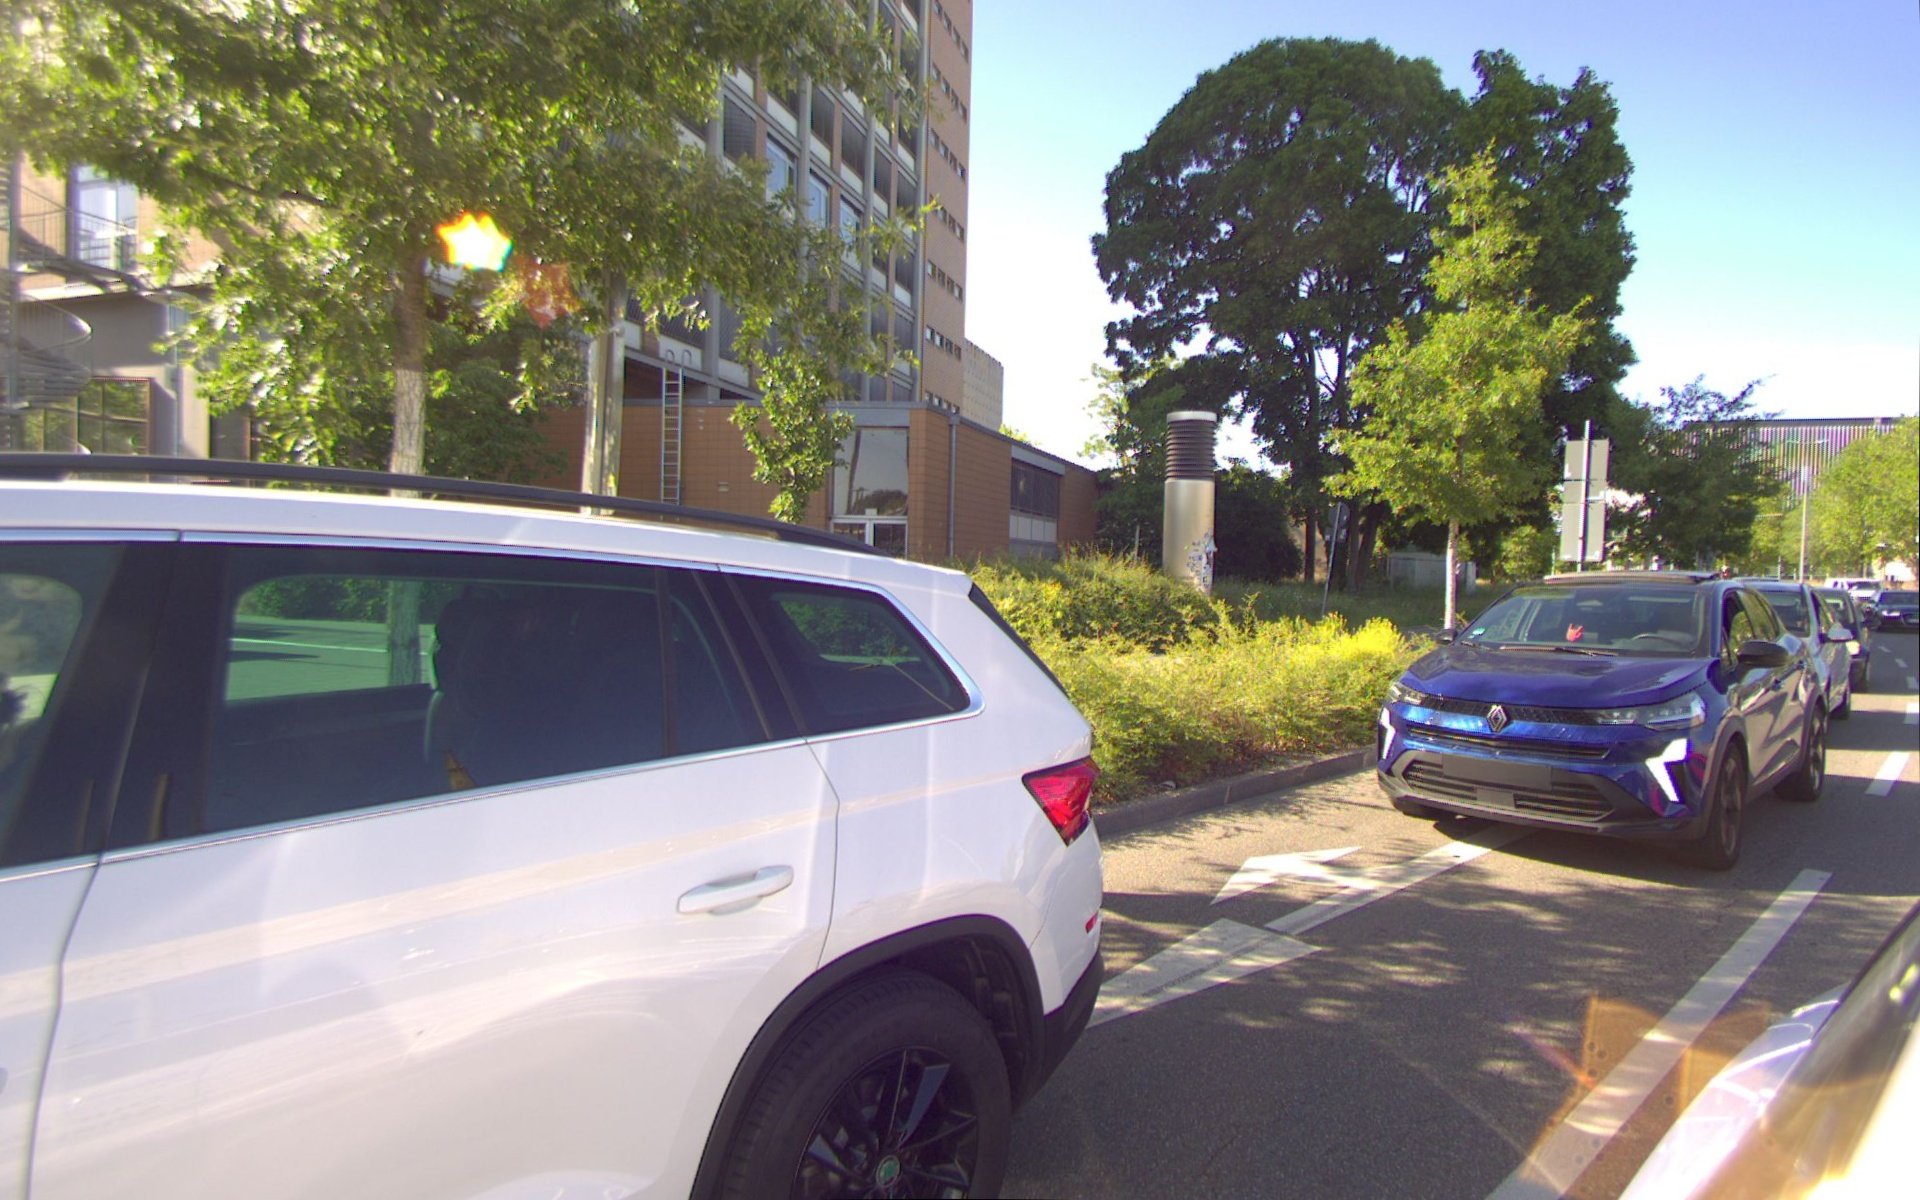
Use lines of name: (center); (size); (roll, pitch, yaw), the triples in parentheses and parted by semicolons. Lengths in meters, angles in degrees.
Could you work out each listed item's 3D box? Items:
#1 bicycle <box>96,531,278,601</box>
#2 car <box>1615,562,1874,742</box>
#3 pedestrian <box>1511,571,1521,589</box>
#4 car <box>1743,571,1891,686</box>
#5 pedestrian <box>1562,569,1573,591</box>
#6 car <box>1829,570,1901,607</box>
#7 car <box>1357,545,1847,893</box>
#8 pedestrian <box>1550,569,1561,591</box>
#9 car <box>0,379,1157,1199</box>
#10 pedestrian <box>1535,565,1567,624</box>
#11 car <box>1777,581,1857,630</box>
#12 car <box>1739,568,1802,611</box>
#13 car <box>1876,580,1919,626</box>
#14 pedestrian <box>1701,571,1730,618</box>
bicycle: (-16.498, -0.725, 21.748); (0.790, 1.394, 3.112); (1, 2, 26)
car: (8.934, 0.438, 11.402); (3.978, 1.644, 1.782); (-1, 2, -45)
pedestrian: (60.689, -2.145, 110.509); (0.812, 1.941, 0.766); (0, 0, 23)
car: (13.928, 0.379, 16.406); (1.646, 1.630, 3.436); (3, 2, 43)
pedestrian: (53.776, -1.778, 89.629); (0.814, 1.941, 0.764); (0, 0, 29)
car: (52.377, -0.710, 58.678); (1.767, 2.038, 4.202); (0, 1, 22)
car: (4.418, 0.520, 6.704); (4.013, 1.625, 1.703); (0, 2, -42)
pedestrian: (53.011, -1.780, 90.104); (0.814, 1.941, 0.764); (0, 0, 29)
car: (-1.671, 0.574, 1.604); (4.224, 1.662, 1.697); (-1, 2, -42)
pedestrian: (16.606, -0.169, 28.426); (0.688, 1.624, 0.653); (2, 2, 35)
car: (28.457, 0.143, 33.696); (1.742, 1.494, 3.529); (0, 1, 35)
car: (37.723, -0.520, 47.175); (1.815, 1.876, 3.709); (2, 2, 32)
car: (32.921, 0.076, 34.629); (1.871, 1.499, 3.948); (1, 1, 36)
pedestrian: (26.954, -0.203, 36.116); (0.655, 1.624, 0.687); (2, 1, 26)
